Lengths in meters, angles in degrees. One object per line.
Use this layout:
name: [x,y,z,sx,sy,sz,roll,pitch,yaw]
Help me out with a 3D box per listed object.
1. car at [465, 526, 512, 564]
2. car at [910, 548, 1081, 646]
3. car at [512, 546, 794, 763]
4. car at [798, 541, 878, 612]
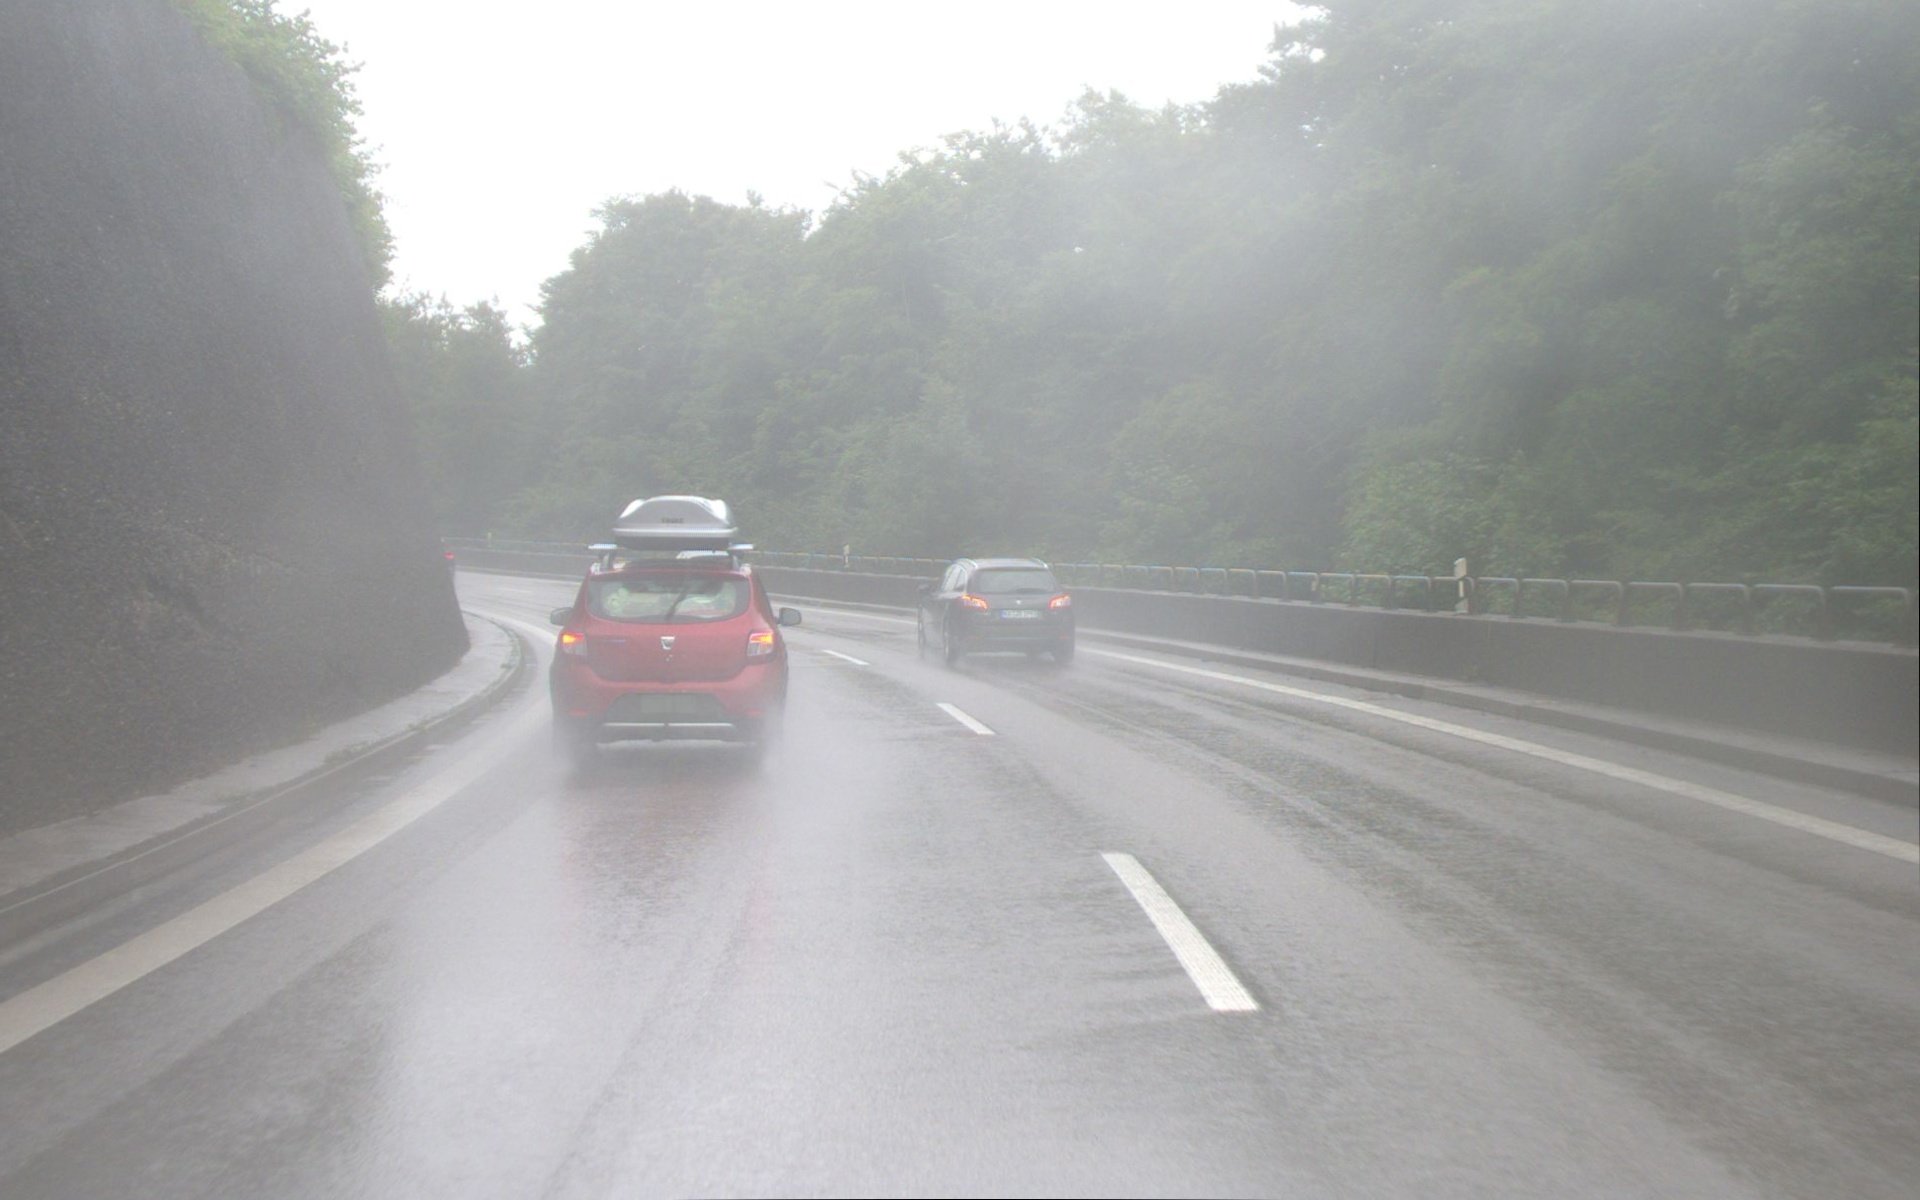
car: [-18.782,-2.189,136.933,1.800,1.462,4.001,1,1,-8]
car: [0.457,-0.065,48.479,1.800,1.303,4.001,1,1,-8]
car: [-2.303,0.366,26.721,1.993,1.546,4.000,1,1,-3]
car: [-3.179,-0.597,88.792,1.993,1.744,4.000,1,0,-3]
